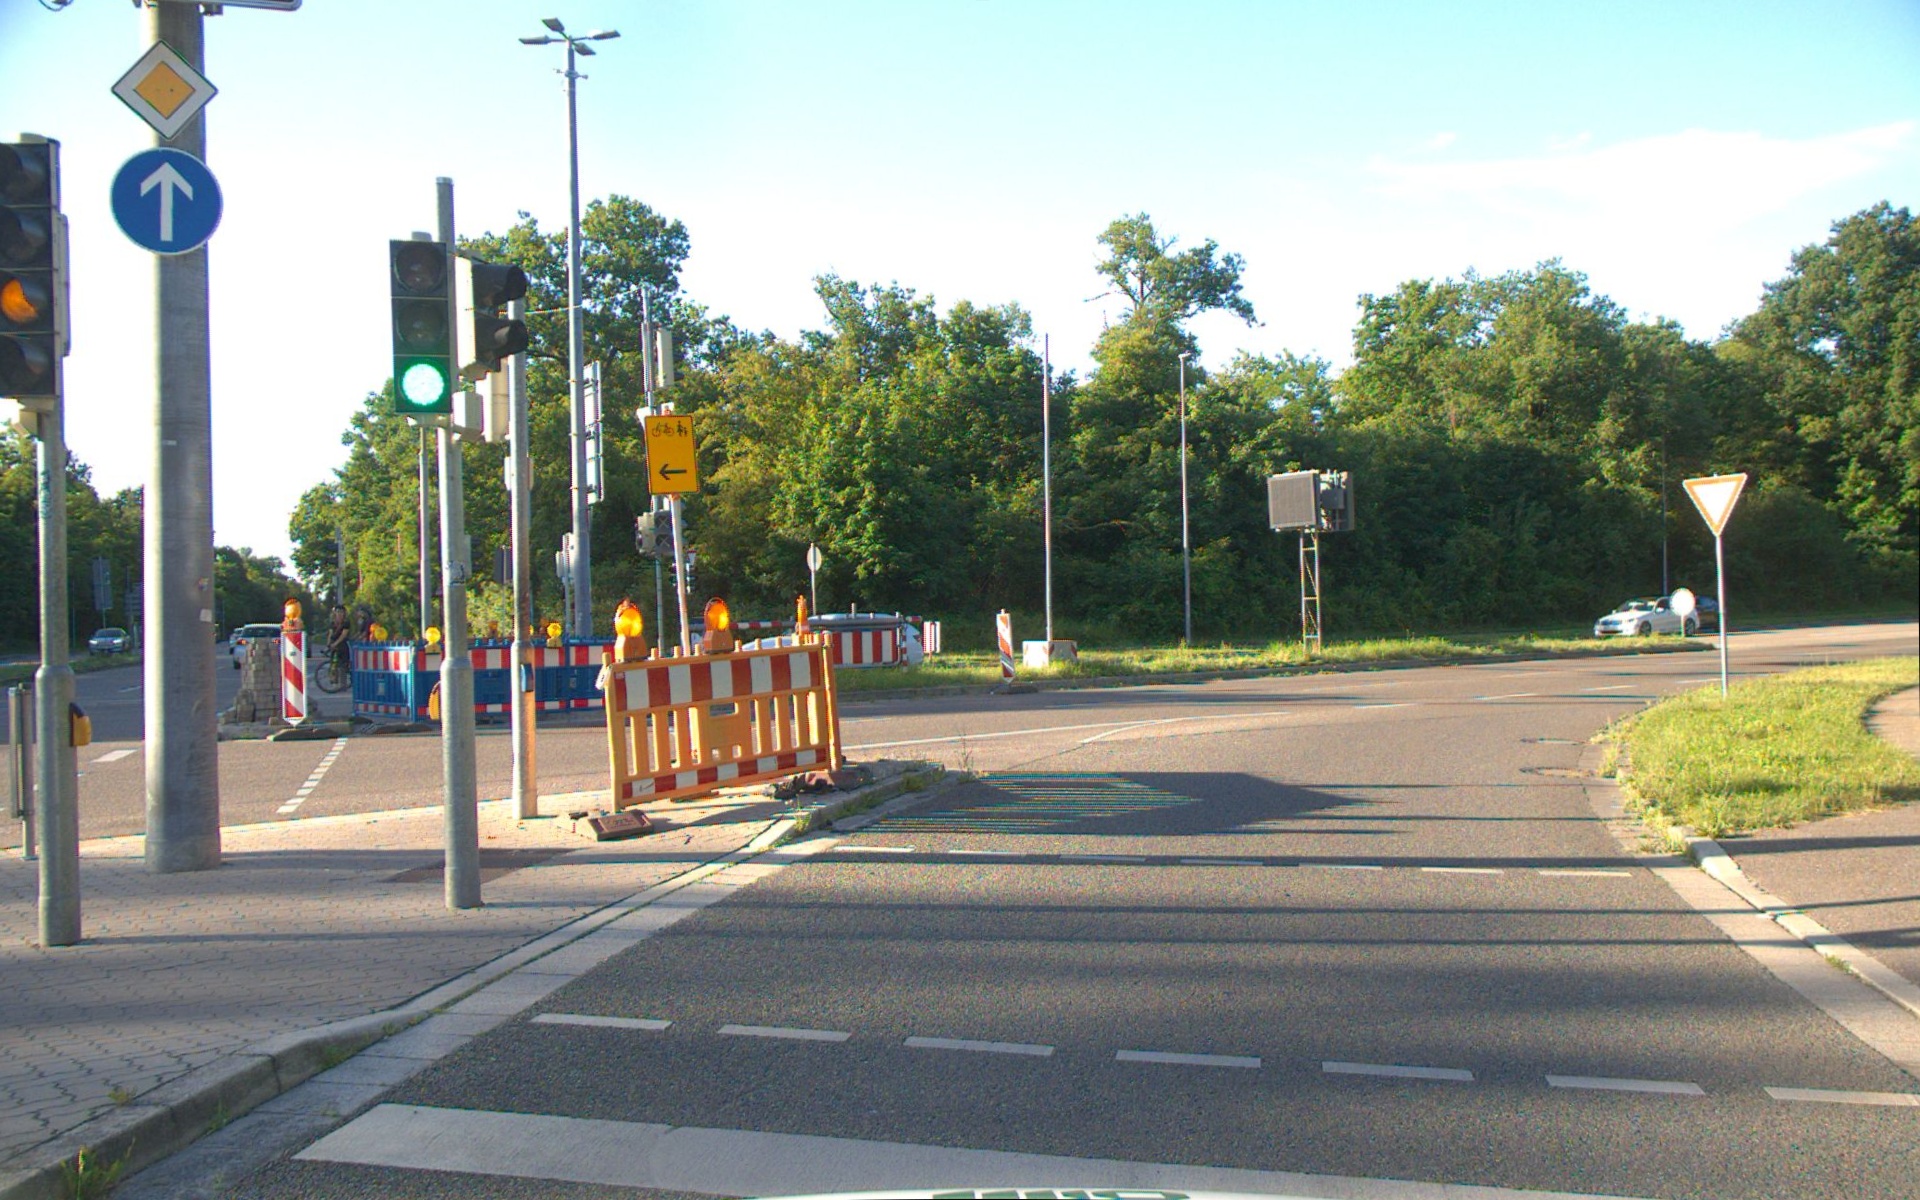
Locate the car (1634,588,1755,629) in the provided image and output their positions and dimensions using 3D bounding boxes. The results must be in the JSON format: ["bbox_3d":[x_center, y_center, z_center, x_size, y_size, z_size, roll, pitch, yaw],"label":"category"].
[{"bbox_3d":[28.392,0.320,63.911,4.747,1.461,1.978,-1,0,-33],"label":"car"}]

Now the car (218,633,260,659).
[{"bbox_3d":[-42.120,2.661,96.674,1.834,1.469,3.980,-1,-1,-18],"label":"car"}]

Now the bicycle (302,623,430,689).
[{"bbox_3d":[-13.405,1.246,37.414,0.950,1.407,2.626,-1,-1,40],"label":"bicycle"}]

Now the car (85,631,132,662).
[{"bbox_3d":[-52.336,2.852,101.740,1.964,1.820,4.225,-1,0,-19],"label":"car"}]

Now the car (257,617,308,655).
[{"bbox_3d":[-29.728,1.584,72.643,1.966,1.563,3.974,-2,0,-22],"label":"car"}]

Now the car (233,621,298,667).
[{"bbox_3d":[-23.792,1.494,56.752,1.913,1.439,3.974,-2,0,-22],"label":"car"}]

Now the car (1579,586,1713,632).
[{"bbox_3d":[23.981,0.300,57.763,4.747,1.461,1.978,-1,0,-33],"label":"car"}]

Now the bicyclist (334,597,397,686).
[{"bbox_3d":[-13.438,0.924,37.393,0.950,1.963,1.011,-1,-1,40],"label":"bicyclist"}]

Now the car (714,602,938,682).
[{"bbox_3d":[-2.971,0.905,37.345,4.787,1.608,1.971,-1,-1,-40],"label":"car"}]
